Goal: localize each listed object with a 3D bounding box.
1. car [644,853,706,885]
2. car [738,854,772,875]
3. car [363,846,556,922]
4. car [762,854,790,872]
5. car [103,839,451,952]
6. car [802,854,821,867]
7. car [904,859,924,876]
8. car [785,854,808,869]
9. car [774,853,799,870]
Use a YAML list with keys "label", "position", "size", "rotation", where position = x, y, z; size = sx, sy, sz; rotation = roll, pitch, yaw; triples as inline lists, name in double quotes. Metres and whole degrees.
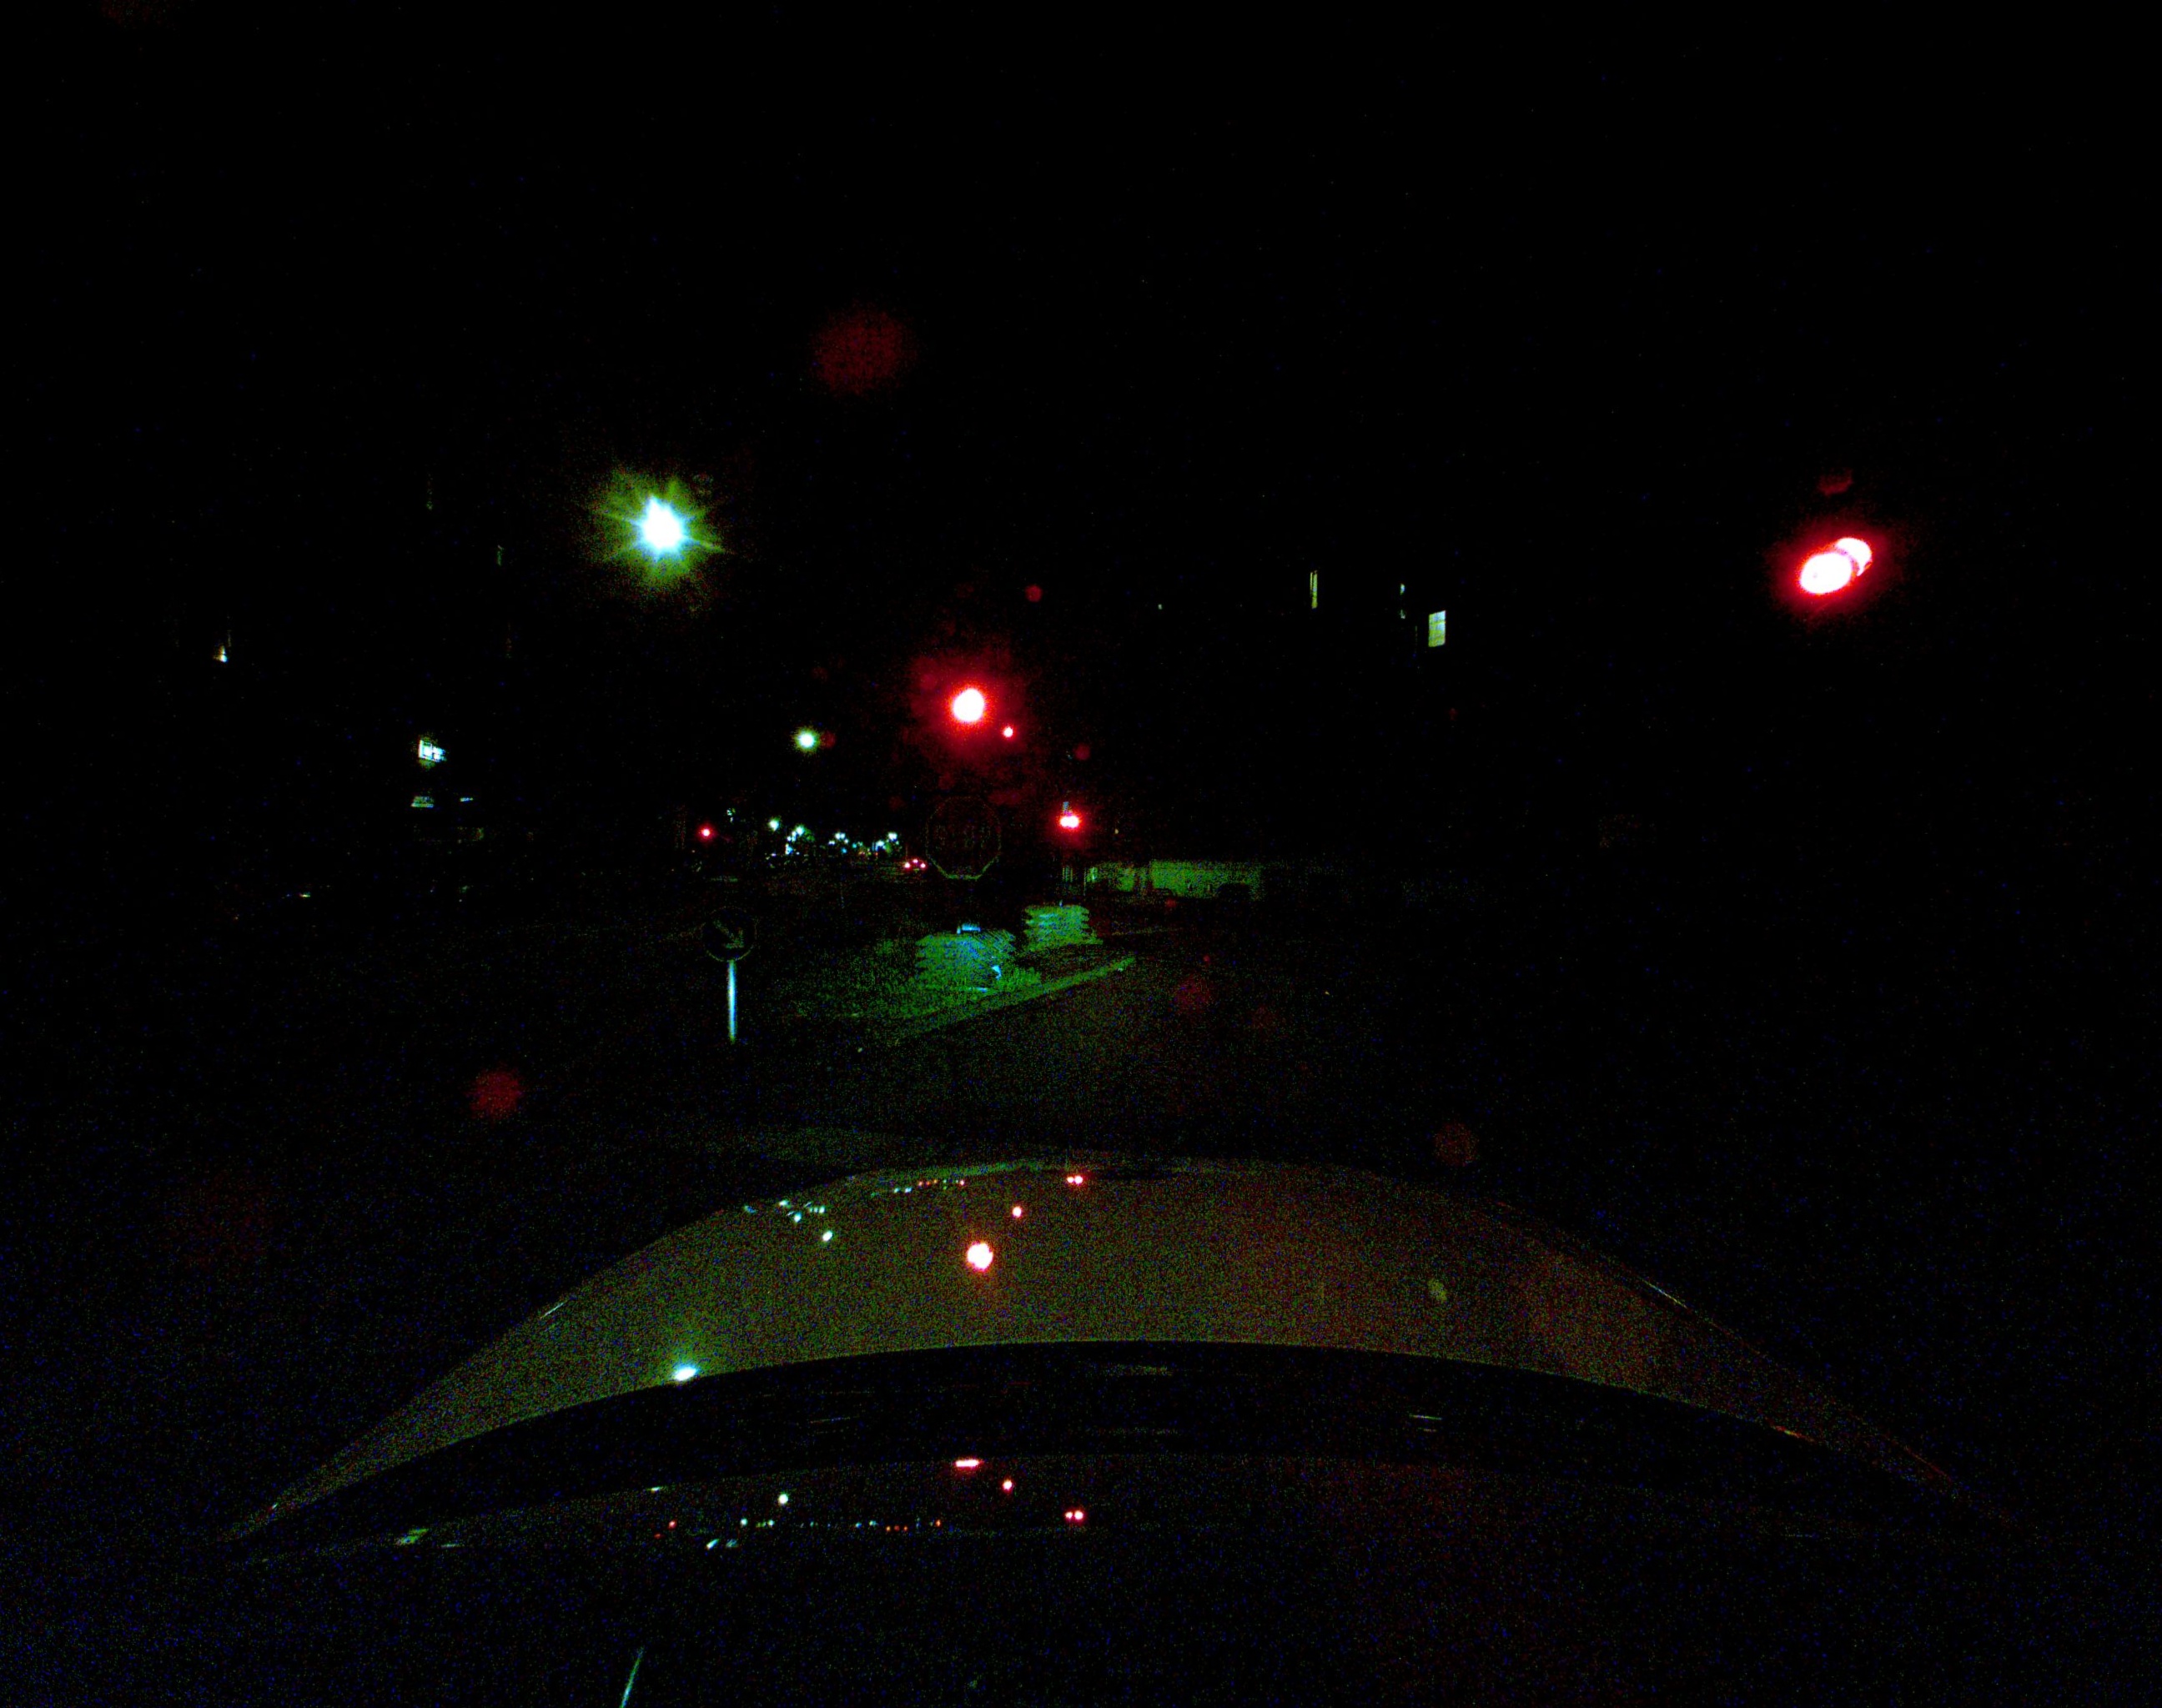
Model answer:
- label: "car"
  position: [-18.962, 0.684, 38.185]
  size: [1.653, 1.431, 3.982]
  rotation: [1, 0, -13]
- label: "car"
  position: [-23.672, 0.749, 59.226]
  size: [1.653, 1.431, 3.982]
  rotation: [1, 0, -13]
- label: "car"
  position: [-13.664, 0.624, 18.261]
  size: [1.806, 1.481, 4.302]
  rotation: [1, -1, -14]
- label: "car"
  position: [-25.181, 0.749, 67.284]
  size: [1.653, 1.431, 3.982]
  rotation: [1, 0, -13]
- label: "car"
  position: [-12.609, 0.574, 13.293]
  size: [1.901, 1.471, 4.432]
  rotation: [3, -1, -13]
- label: "car"
  position: [-30.853, 0.753, 93.191]
  size: [1.653, 1.431, 3.982]
  rotation: [1, 0, -13]
- label: "car"
  position: [-14.864, 1.157, 72.415]
  size: [1.652, 1.431, 3.984]
  rotation: [1, 0, -12]
- label: "car"
  position: [-27.890, 0.741, 79.838]
  size: [1.653, 1.431, 3.982]
  rotation: [1, 0, -13]
- label: "car"
  position: [-26.485, 0.675, 73.348]
  size: [1.653, 1.431, 3.982]
  rotation: [1, 0, -13]
